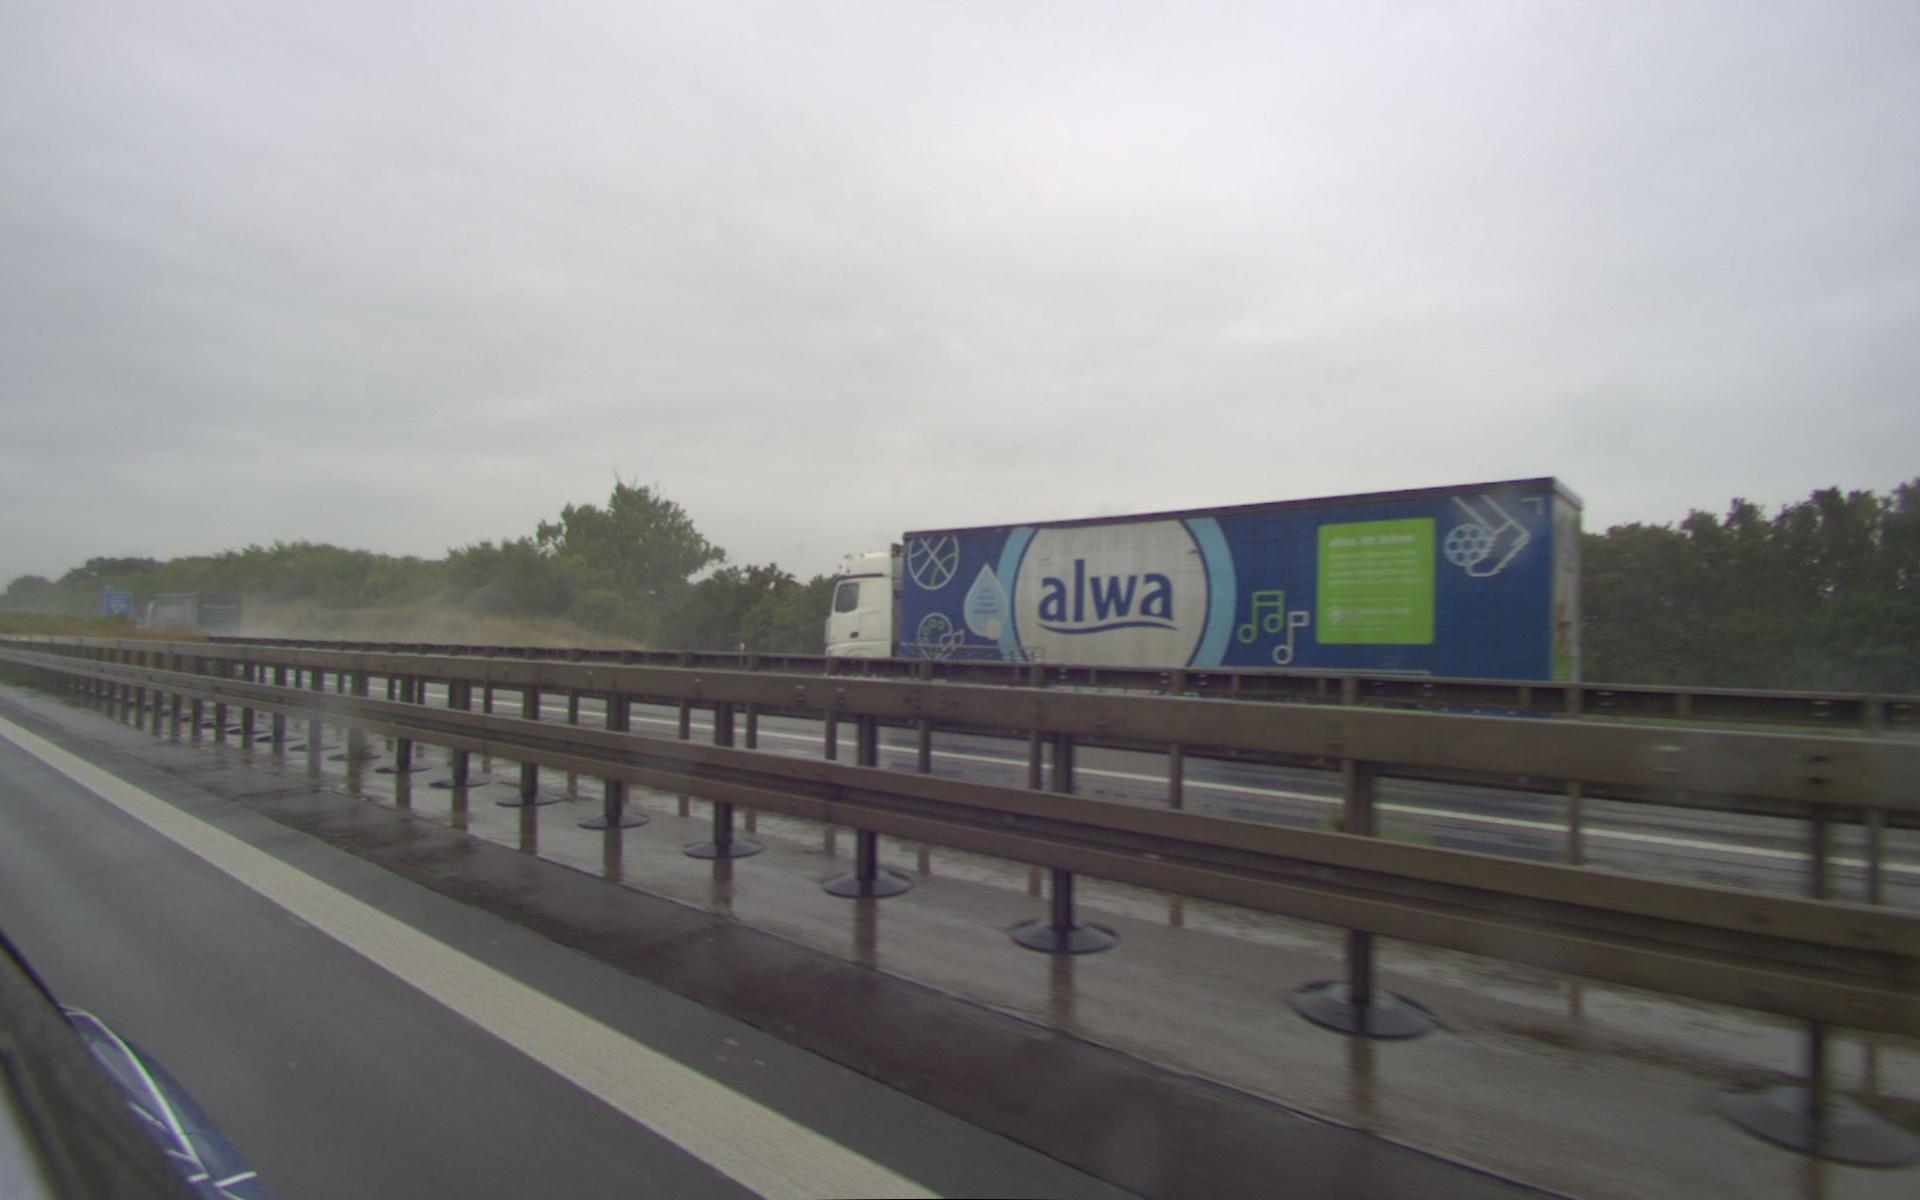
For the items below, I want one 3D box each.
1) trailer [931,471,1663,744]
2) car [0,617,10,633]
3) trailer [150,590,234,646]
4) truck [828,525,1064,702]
[{"bbox_3d":[5.278,0.197,19.700,13.578,3.833,2.606,-1,-1,42],"label":"trailer"},{"bbox_3d":[-153.079,4.011,160.453,5.834,2.407,3.038,-1,-1,42],"label":"car"},{"bbox_3d":[-56.347,1.317,74.015,13.605,3.833,2.271,-1,-1,42],"label":"trailer"},{"bbox_3d":[-0.448,0.331,24.700,5.397,3.834,2.595,-1,-1,41],"label":"truck"}]
